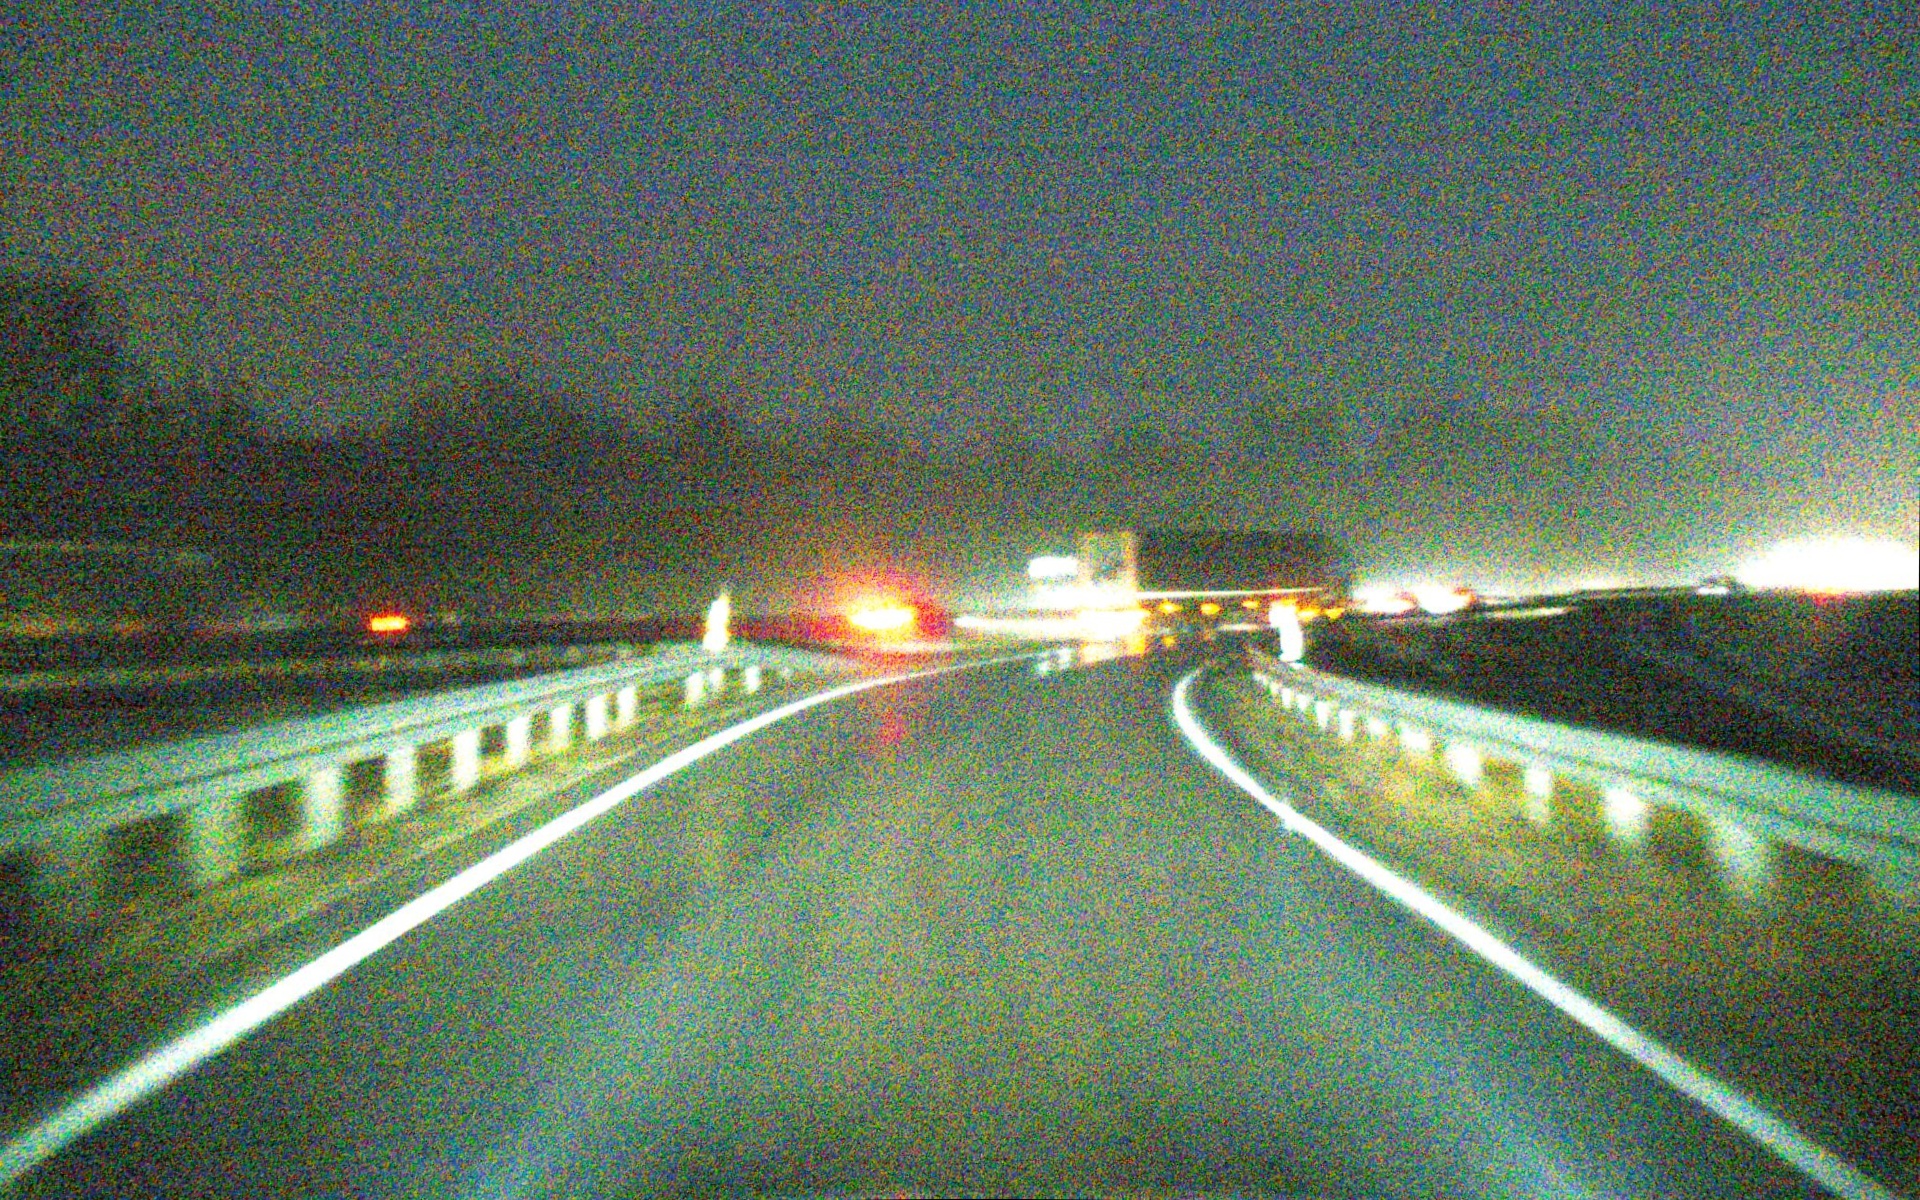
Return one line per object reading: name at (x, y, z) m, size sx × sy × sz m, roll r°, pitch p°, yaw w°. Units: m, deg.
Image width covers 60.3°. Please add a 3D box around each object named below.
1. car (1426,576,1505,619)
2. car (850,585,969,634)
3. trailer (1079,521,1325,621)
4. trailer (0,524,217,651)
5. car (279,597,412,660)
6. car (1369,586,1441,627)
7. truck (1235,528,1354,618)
car at (23.484, -0.142, 76.777) m, size 1.966 × 1.850 × 3.973 m, roll 1°, pitch 2°, yaw 44°
car at (-1.782, 0.320, 59.089) m, size 3.967 × 1.646 × 1.969 m, roll 0°, pitch 2°, yaw -43°
trailer at (10.258, -1.161, 68.070) m, size 2.556 × 3.790 × 13.558 m, roll 2°, pitch 2°, yaw 44°
trailer at (-31.909, -0.415, 53.978) m, size 13.908 × 4.099 × 2.734 m, roll -1°, pitch 2°, yaw -44°
car at (-21.826, 0.967, 58.817) m, size 1.967 × 2.048 × 3.972 m, roll 1°, pitch 2°, yaw 45°
car at (23.523, 0.310, 87.308) m, size 3.971 × 2.048 × 1.967 m, roll -1°, pitch 2°, yaw -45°
truck at (14.748, -1.199, 72.740) m, size 2.553 × 3.776 × 5.420 m, roll 2°, pitch 2°, yaw 44°
